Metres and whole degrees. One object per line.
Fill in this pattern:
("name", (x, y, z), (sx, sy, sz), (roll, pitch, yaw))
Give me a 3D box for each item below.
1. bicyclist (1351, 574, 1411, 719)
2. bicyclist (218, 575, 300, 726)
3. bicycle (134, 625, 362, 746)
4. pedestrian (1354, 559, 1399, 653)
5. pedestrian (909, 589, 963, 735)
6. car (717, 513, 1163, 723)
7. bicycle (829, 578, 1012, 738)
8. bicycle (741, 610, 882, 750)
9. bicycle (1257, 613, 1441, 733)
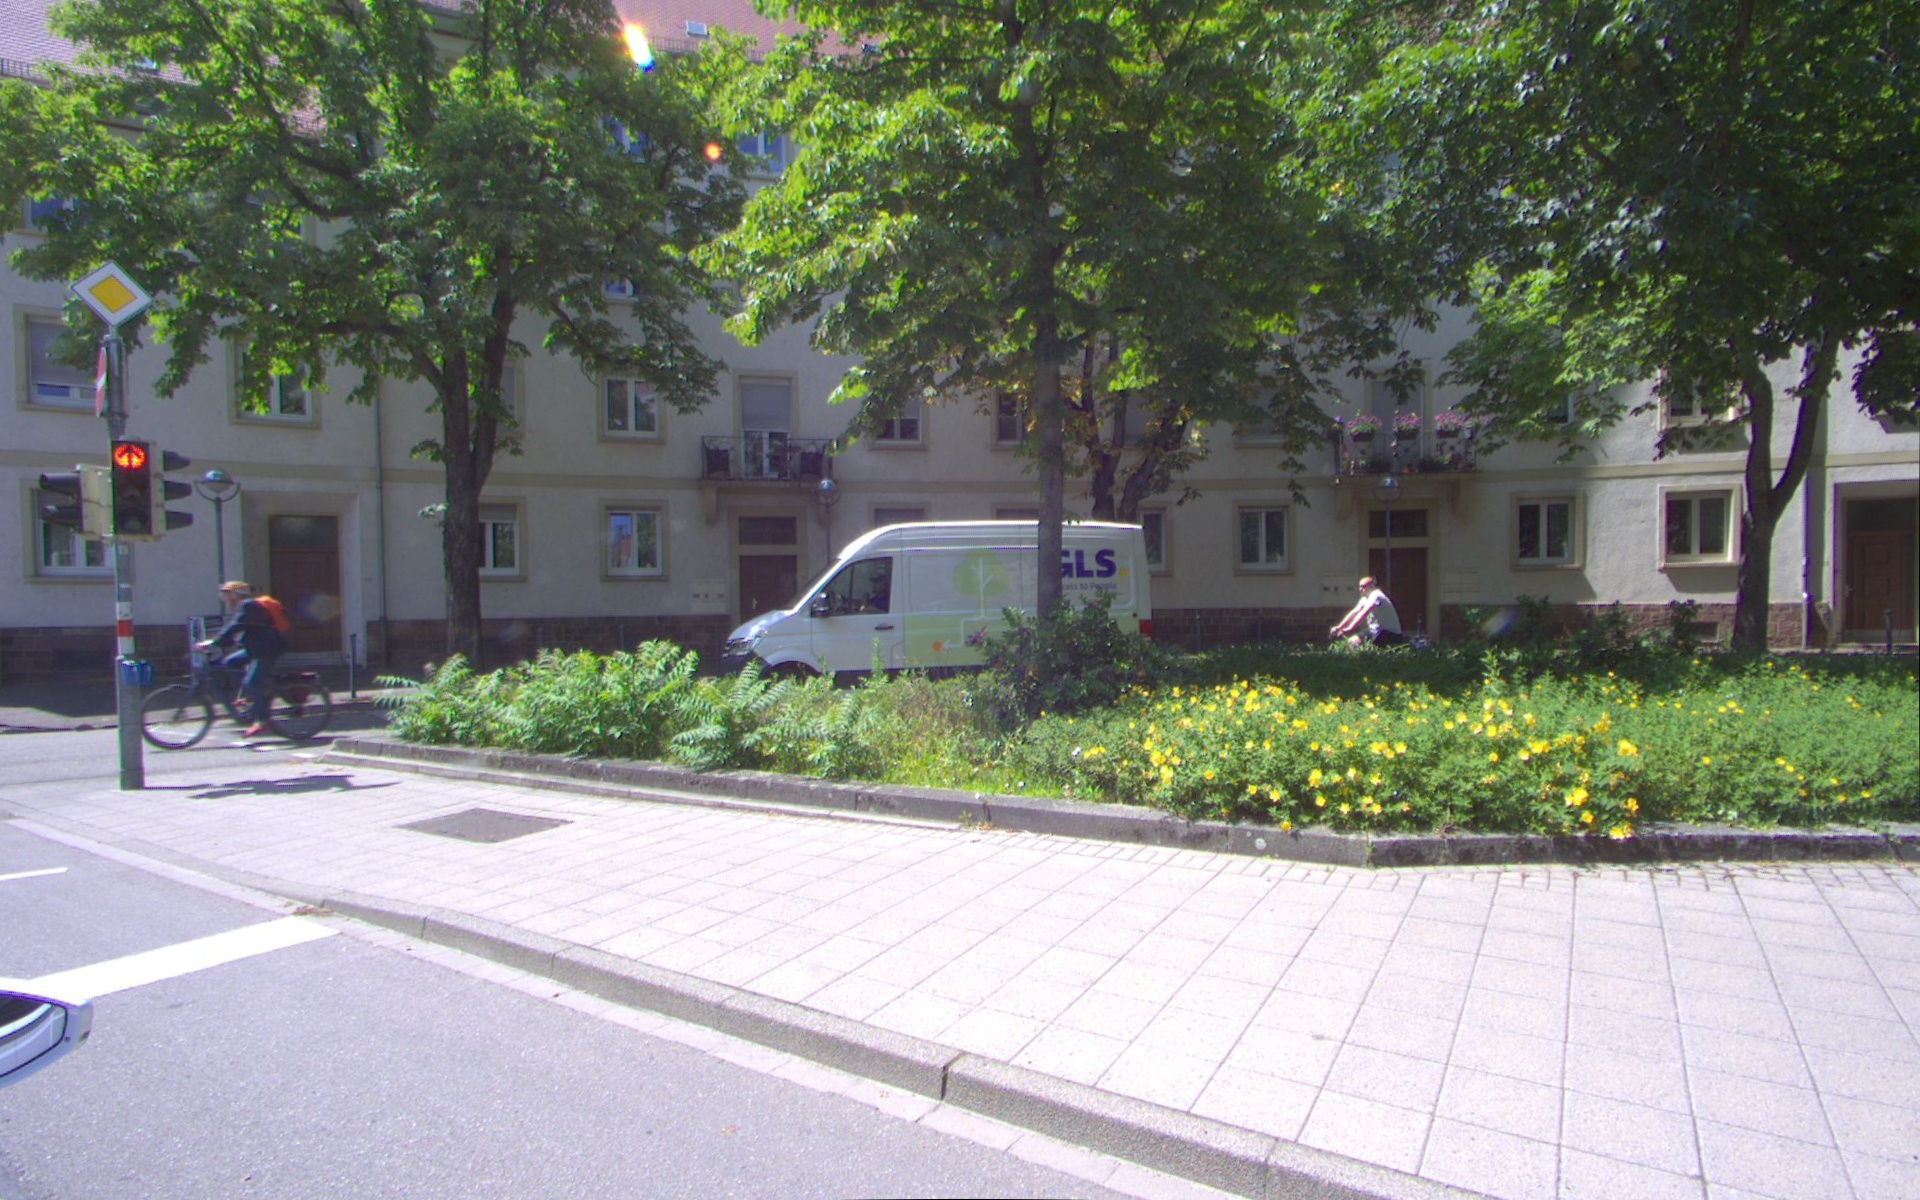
("bicyclist", (5.417, 0.597, 12.908), (0.524, 1.823, 0.604), (-1, 0, 3))
("bicyclist", (-8.072, 0.566, 11.532), (0.689, 1.667, 0.574), (0, 0, -44))
("bicycle", (-8.123, 0.931, 11.511), (0.575, 1.252, 2.068), (-1, -1, 45))
("pedestrian", (9.189, 0.145, 22.124), (0.759, 2.040, 0.807), (-1, 0, 13))
("pedestrian", (-0.215, 0.556, 9.147), (0.345, 1.301, 0.365), (-1, 0, 32))
("car", (-0.291, 0.204, 13.847), (5.738, 2.624, 1.999), (-1, 1, -7))
("bicycle", (-0.396, 0.521, 9.258), (1.809, 1.377, 0.351), (-1, 0, 33))
("bicycle", (-1.297, 0.677, 8.655), (1.269, 1.141, 0.332), (-2, -1, 32))
("bicycle", (5.004, 0.938, 12.973), (2.126, 1.505, 0.593), (-1, 0, 4))
